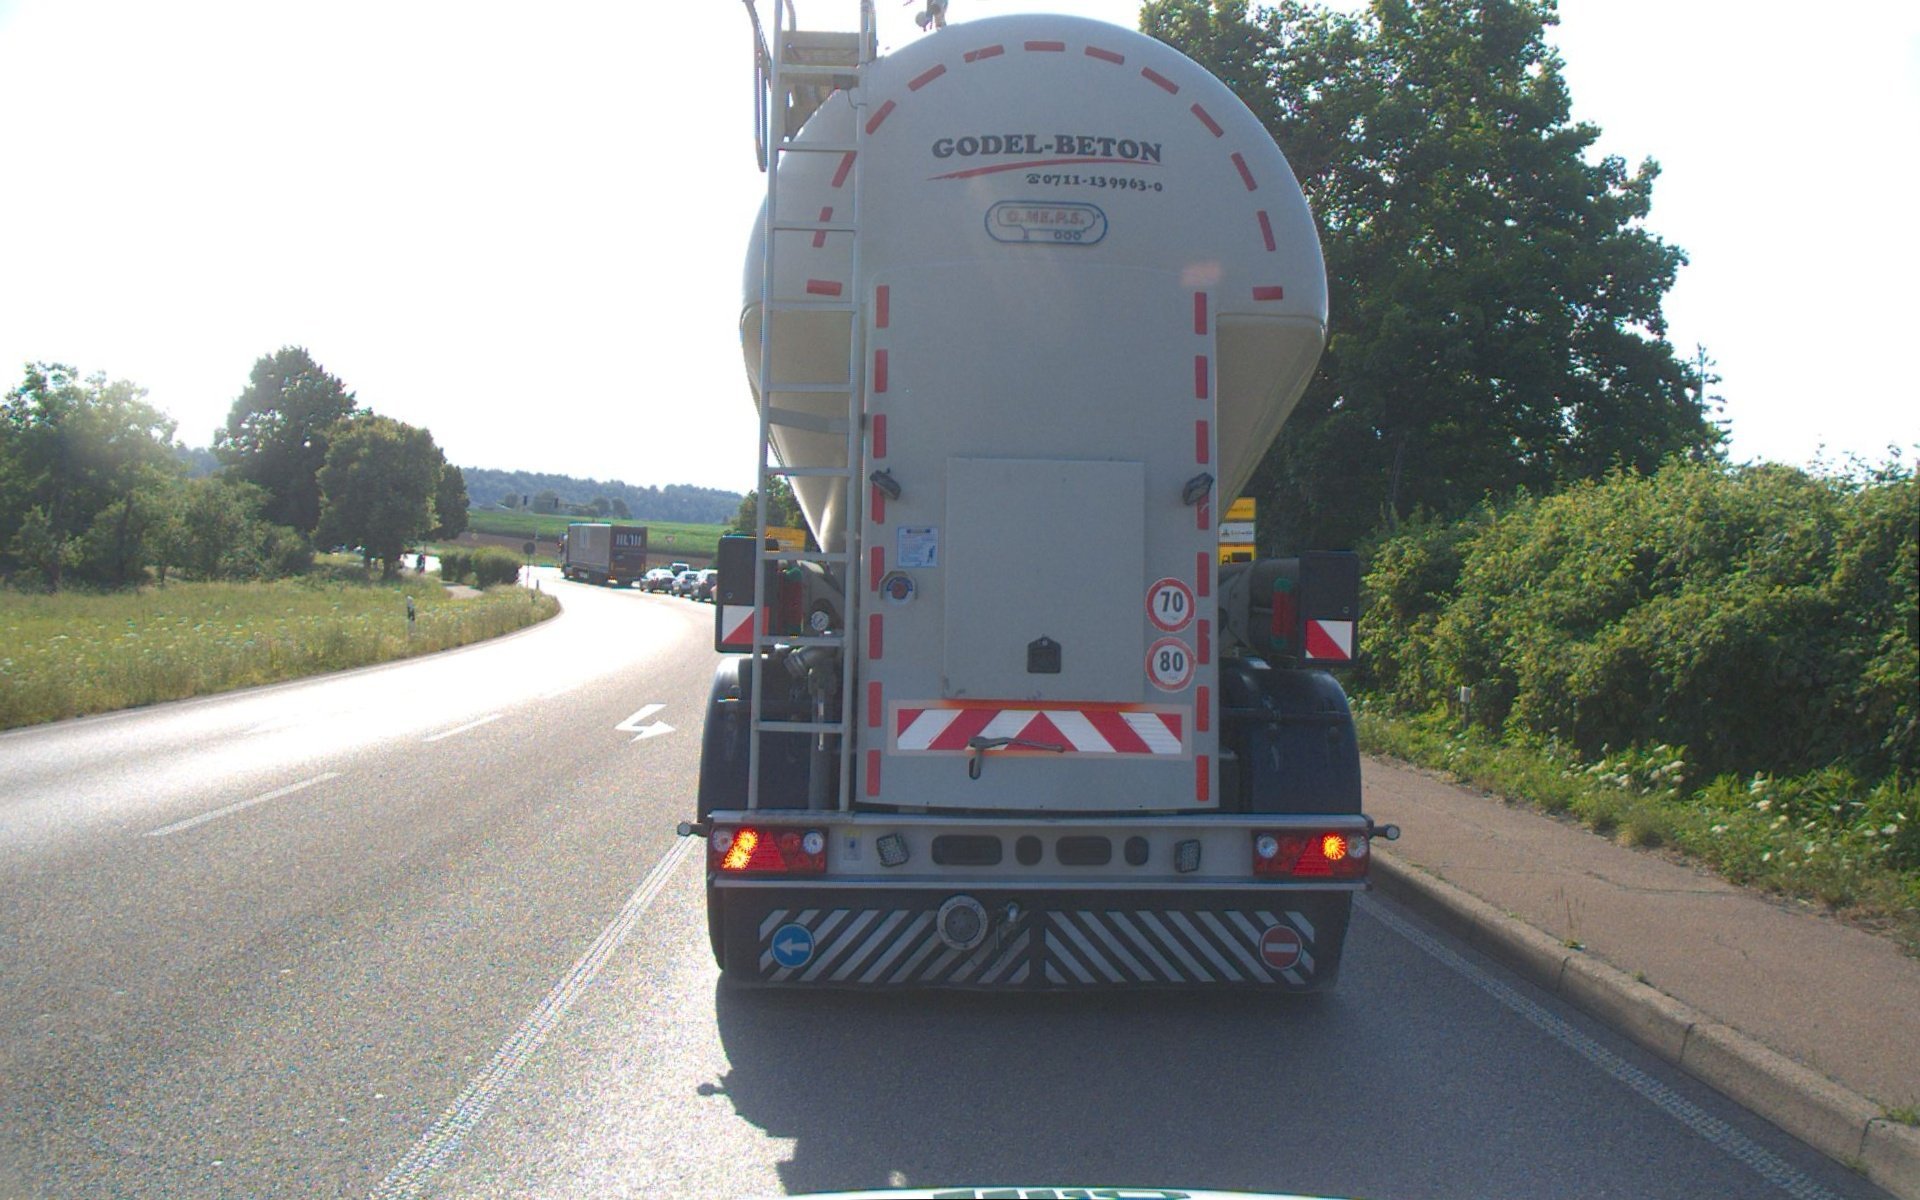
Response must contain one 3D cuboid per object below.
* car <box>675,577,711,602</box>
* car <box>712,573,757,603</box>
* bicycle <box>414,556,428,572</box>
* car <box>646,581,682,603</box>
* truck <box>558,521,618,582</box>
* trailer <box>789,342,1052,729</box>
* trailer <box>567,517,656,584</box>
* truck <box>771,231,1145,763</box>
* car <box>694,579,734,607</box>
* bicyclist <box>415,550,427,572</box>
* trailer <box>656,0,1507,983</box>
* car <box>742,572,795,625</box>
[{"bbox_3d":[-15.451,-0.631,95.633,1.556,1.364,3.408,2,0,-18],"label":"car"},{"bbox_3d":[-11.104,-0.592,81.332,1.556,1.364,3.408,2,0,-18],"label":"car"},{"bbox_3d":[-36.920,-2.457,113.316,0.623,1.093,1.667,3,0,-9],"label":"bicycle"},{"bbox_3d":[-18.219,-0.518,101.761,1.742,1.227,3.408,2,0,-18],"label":"car"},{"bbox_3d":[-28.587,-3.659,126.840,3.331,4.426,5.664,2,0,-24],"label":"truck"},{"bbox_3d":[-0.533,-0.790,26.334,2.895,4.390,14.173,2,0,-1],"label":"trailer"},{"bbox_3d":[-25.277,-3.489,119.190,3.331,4.426,14.190,2,0,-23],"label":"trailer"},{"bbox_3d":[-0.147,-0.790,14.859,2.852,4.076,4.056,1,0,-4],"label":"truck"},{"bbox_3d":[-13.036,-0.391,87.482,1.556,1.364,3.408,2,0,-18],"label":"car"},{"bbox_3d":[-36.897,-2.671,113.253,0.623,1.444,0.689,3,0,-9],"label":"bicyclist"},{"bbox_3d":[0.139,-0.767,10.548,2.852,4.076,9.923,1,0,-4],"label":"trailer"},{"bbox_3d":[-7.810,-0.082,67.100,1.828,2.049,3.709,1,0,-11],"label":"car"}]
